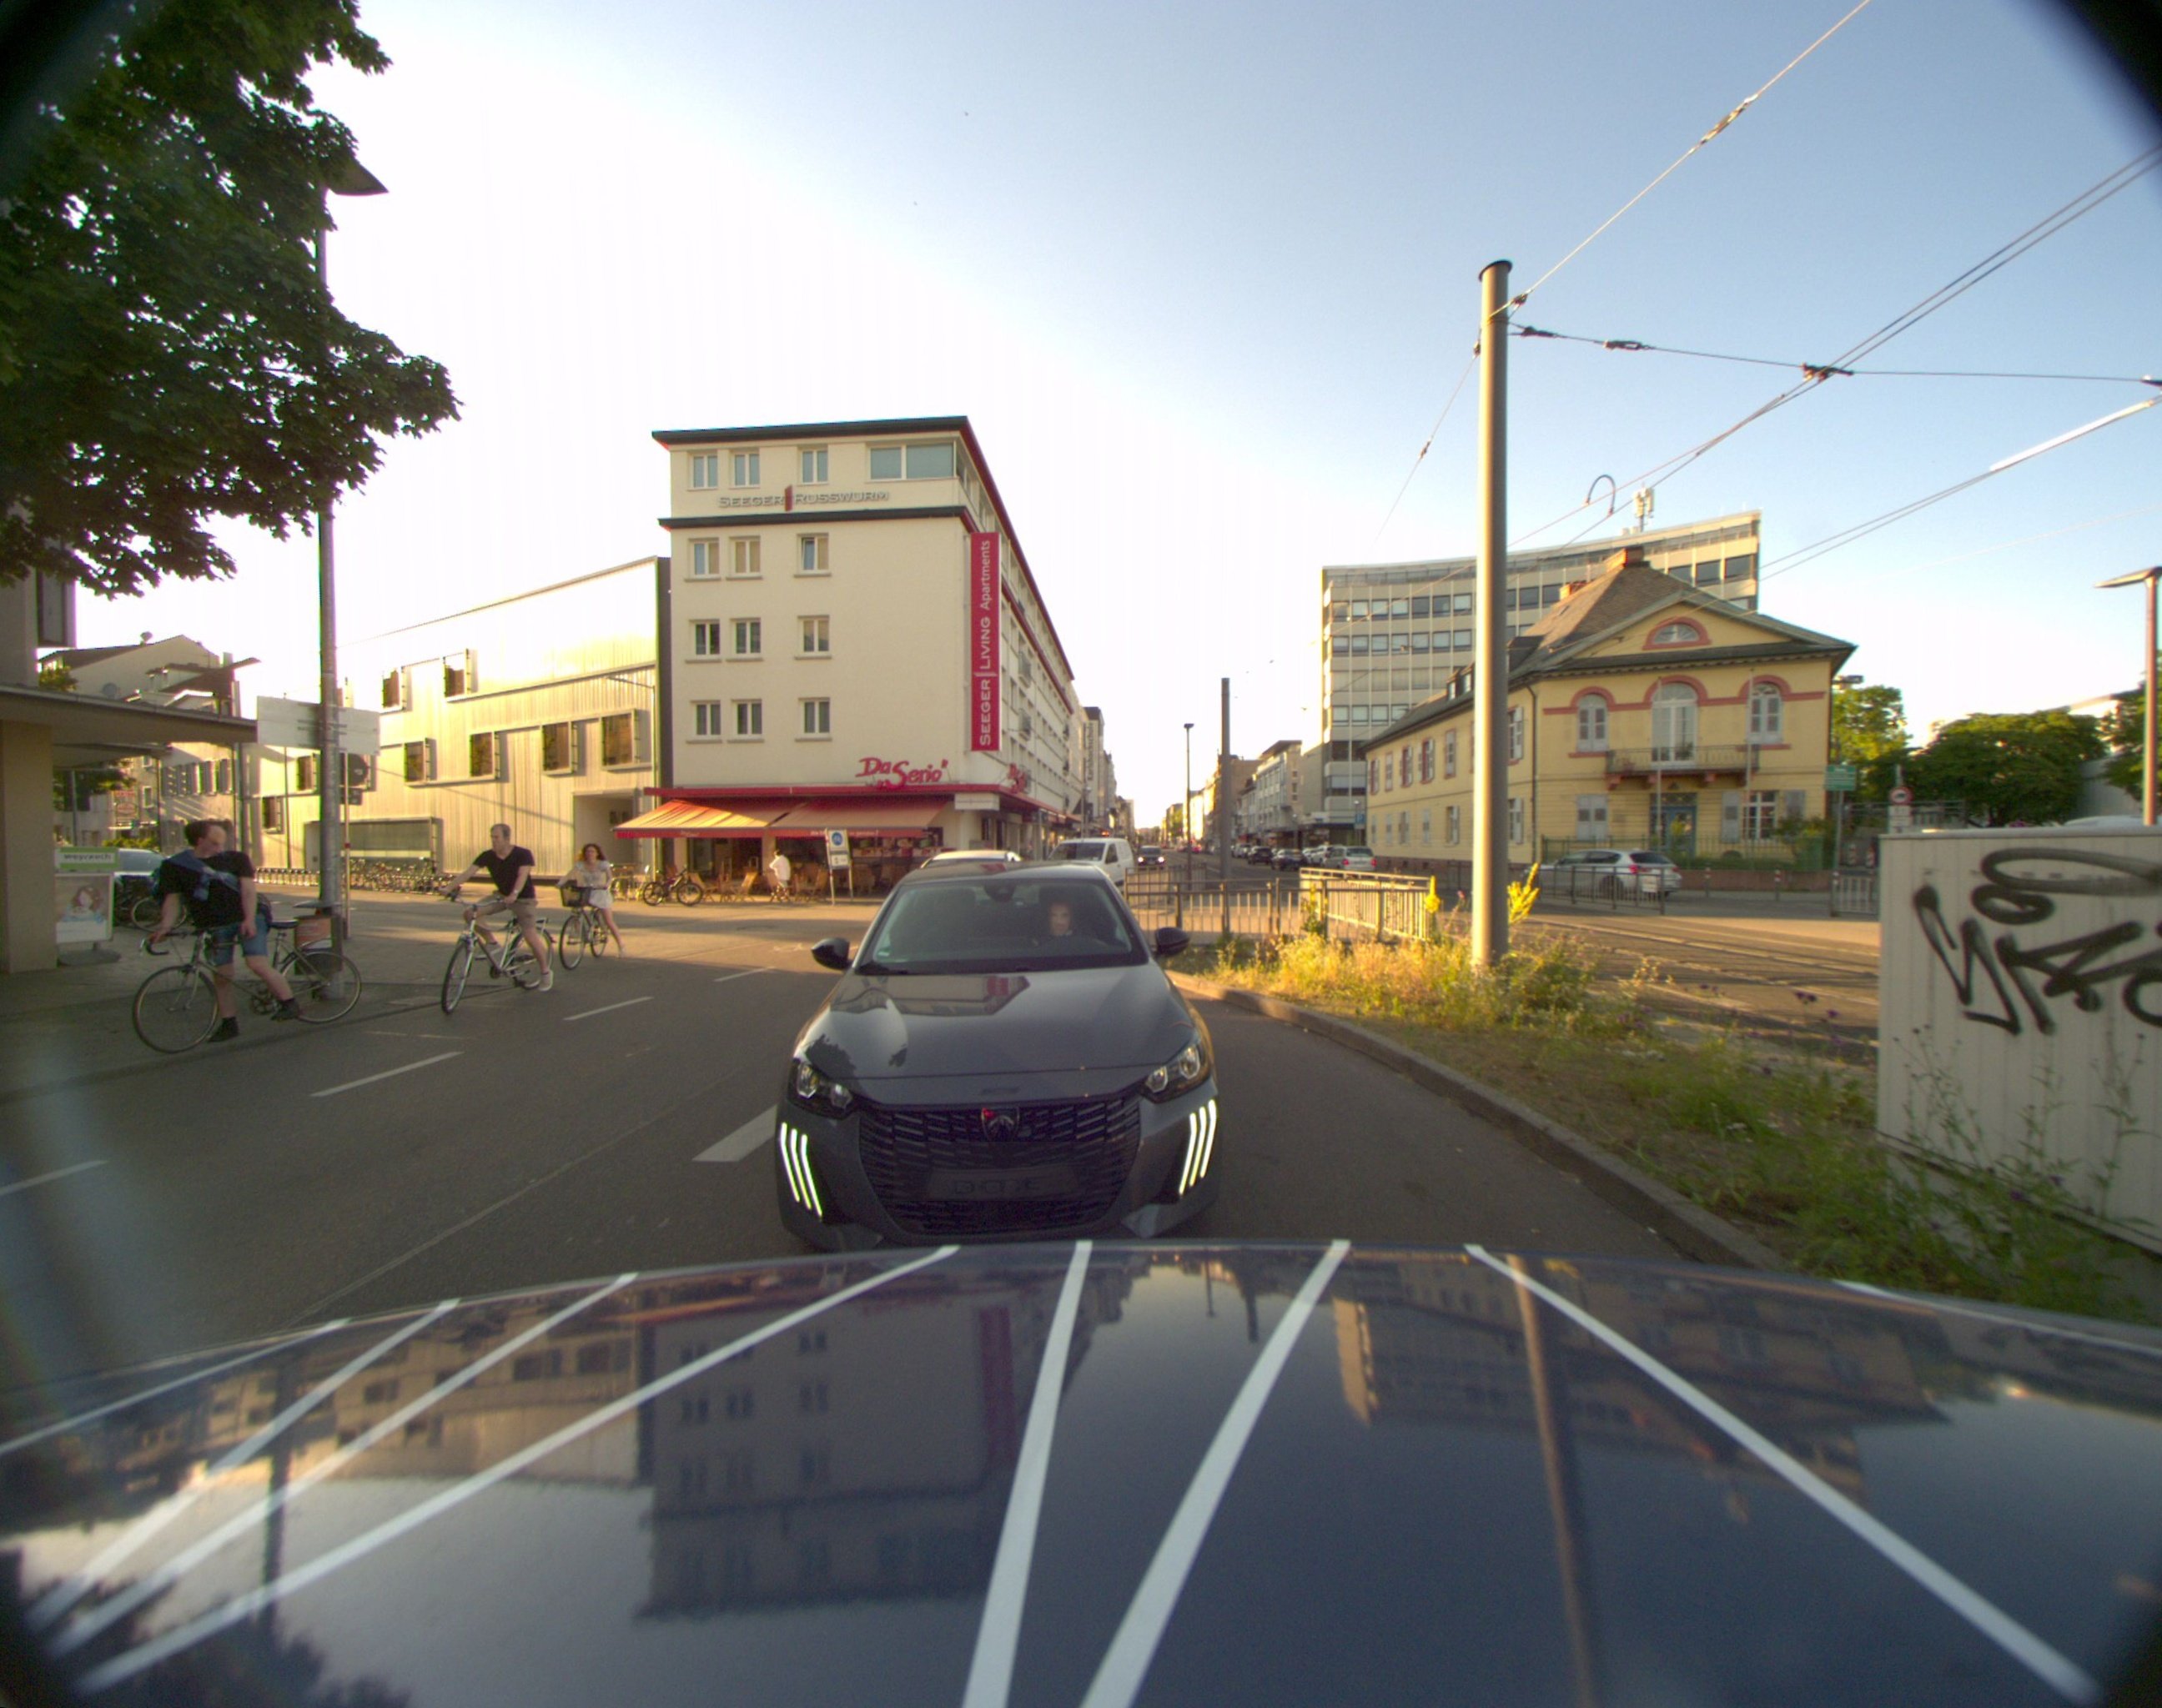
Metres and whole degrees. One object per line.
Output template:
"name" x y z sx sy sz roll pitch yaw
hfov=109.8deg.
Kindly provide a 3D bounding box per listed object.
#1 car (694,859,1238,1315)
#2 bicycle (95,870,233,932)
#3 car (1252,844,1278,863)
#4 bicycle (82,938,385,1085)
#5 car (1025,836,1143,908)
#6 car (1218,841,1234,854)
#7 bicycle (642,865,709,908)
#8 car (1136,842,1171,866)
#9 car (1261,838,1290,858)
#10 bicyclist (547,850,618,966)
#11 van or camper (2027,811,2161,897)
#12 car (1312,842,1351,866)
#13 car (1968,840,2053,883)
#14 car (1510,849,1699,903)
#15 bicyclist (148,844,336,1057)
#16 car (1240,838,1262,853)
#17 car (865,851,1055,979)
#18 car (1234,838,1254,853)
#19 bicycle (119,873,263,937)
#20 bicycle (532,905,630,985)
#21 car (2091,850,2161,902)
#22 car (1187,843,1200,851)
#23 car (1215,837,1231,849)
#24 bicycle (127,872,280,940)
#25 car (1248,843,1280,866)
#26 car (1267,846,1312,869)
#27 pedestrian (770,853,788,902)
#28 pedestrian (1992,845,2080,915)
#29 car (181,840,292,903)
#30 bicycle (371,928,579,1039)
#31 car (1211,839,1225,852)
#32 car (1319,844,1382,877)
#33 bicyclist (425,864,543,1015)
"car" -0.509 0.841 5.065 1.916 1.495 4.700 0 1 -3
"bicycle" -18.477 0.914 15.357 0.484 1.179 1.690 0 -1 22
"car" 19.786 -0.095 81.788 1.998 1.936 4.000 0 1 2
"bicycle" -7.157 1.278 6.566 0.675 0.896 1.690 0 1 2
"car" 0.252 0.442 21.970 1.996 1.827 4.882 0 1 18
"car" 23.617 -1.066 123.919 1.998 1.936 4.000 0 1 2
"bicycle" -11.661 0.929 21.862 1.632 1.160 0.600 0 4 10
"car" 5.172 0.063 53.782 1.996 1.564 4.308 0 -1 12
"car" 19.444 -0.607 76.210 1.998 1.890 4.000 0 1 2
"bicyclist" -6.681 0.697 10.216 0.589 1.478 0.717 0 1 -16
"van or camper" 36.692 -0.021 27.345 2.077 2.759 6.463 2 1 41
"car" 18.204 -0.049 55.419 1.736 1.698 3.806 0 1 3
"car" 42.957 0.296 35.222 1.713 1.838 4.030 2 2 40
"car" 15.249 0.564 22.443 1.917 1.402 4.330 0 1 -17
"bicyclist" -7.159 0.771 6.530 0.665 1.718 0.810 0 2 2
"car" 21.695 -1.111 96.964 1.998 1.936 4.000 0 1 2
"car" -1.594 0.753 11.769 1.814 1.441 4.563 0 2 5
"car" 22.352 -1.161 104.197 1.998 1.936 4.000 0 1 2
"bicycle" -17.363 0.961 14.883 0.538 1.179 1.721 0 -1 22
"bicycle" -6.691 1.182 10.259 0.600 0.820 1.737 0 1 -16
"car" 32.758 0.639 22.871 1.729 1.421 4.483 2 2 39
"car" 22.177 -1.381 149.881 1.848 1.499 3.999 0 1 0
"car" 24.345 -1.928 130.060 1.998 2.002 3.999 -2 1 1
"bicycle" -16.453 0.942 14.310 0.553 1.179 1.784 0 -1 22
"car" 16.076 0.013 66.897 1.998 1.979 4.120 0 1 3
"car" 13.894 0.191 50.878 2.017 1.420 4.656 0 1 3
"pedestrian" -9.149 0.695 23.019 0.509 1.441 0.506 -1 1 -22
"pedestrian" 21.265 0.547 16.947 1.041 1.494 1.007 1 2 42
"car" -28.944 0.516 26.032 3.988 2.002 2.004 1 1 35
"bicycle" -6.152 1.274 7.869 0.614 0.820 1.805 0 1 3
"car" 24.698 -1.498 137.291 1.998 2.363 4.000 0 1 2
"car" 13.866 0.306 39.281 1.839 1.589 4.071 0 1 0
"bicyclist" -6.158 0.852 7.875 0.613 1.478 0.718 0 1 3
